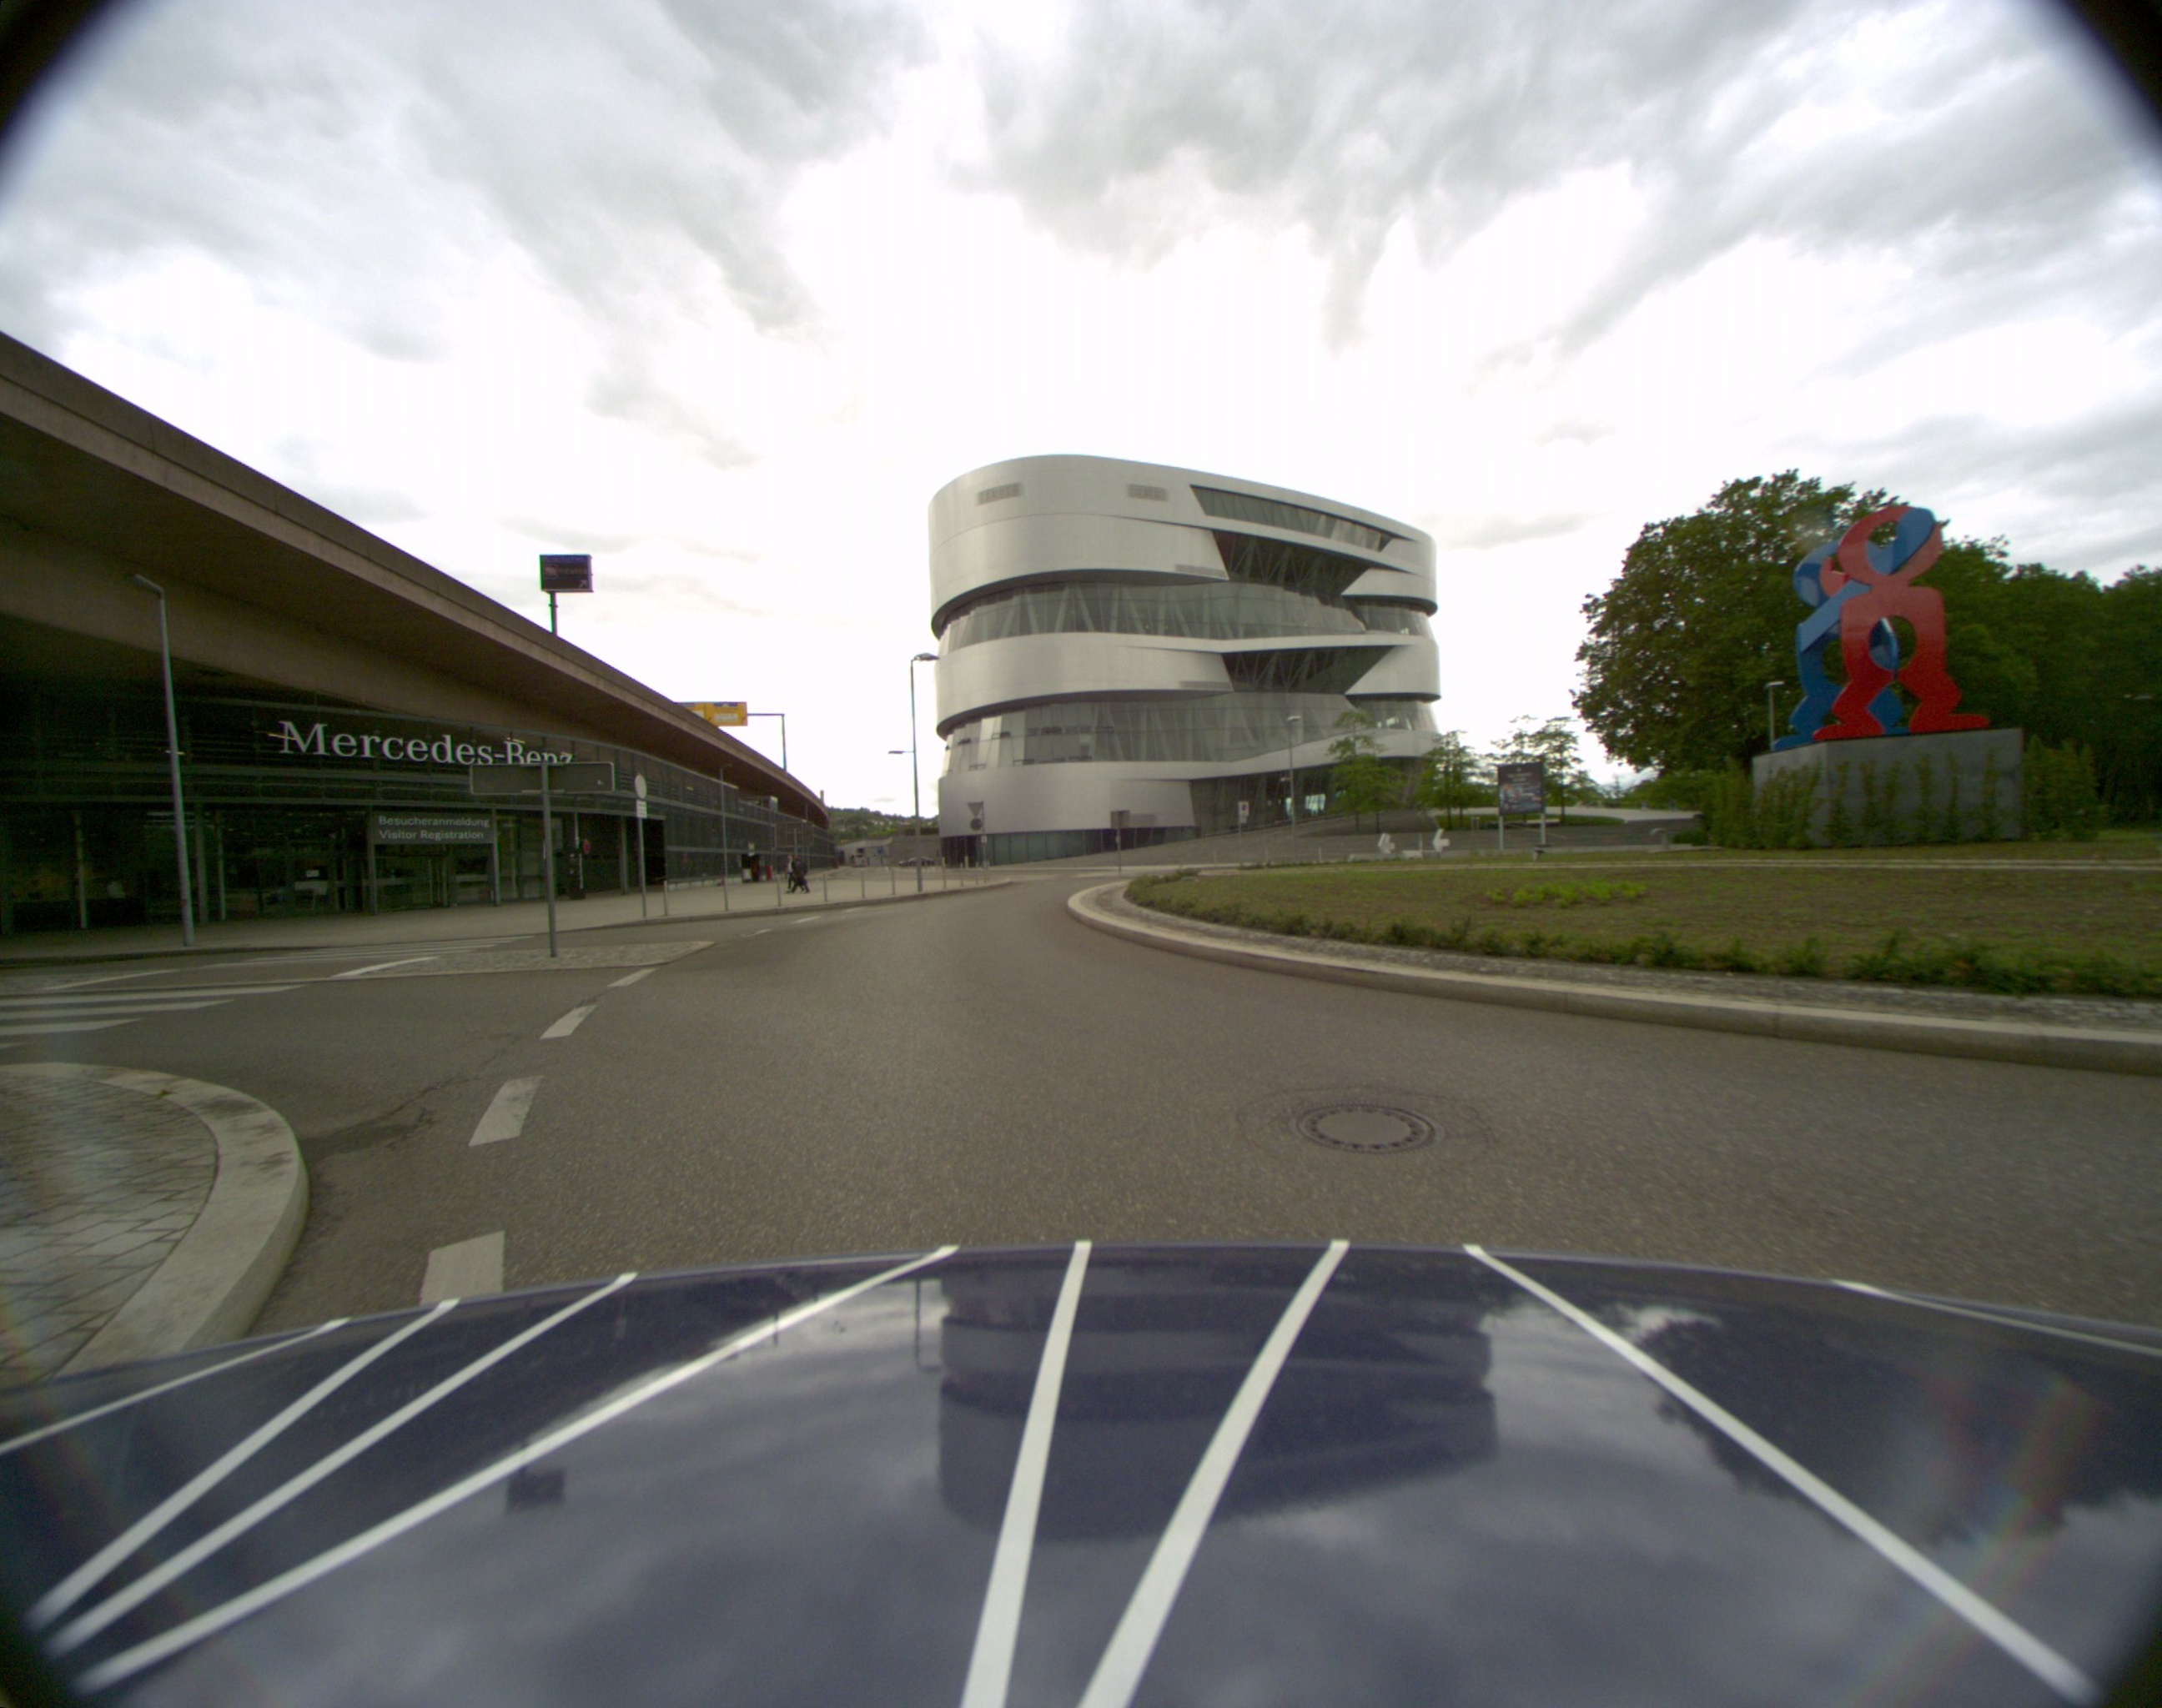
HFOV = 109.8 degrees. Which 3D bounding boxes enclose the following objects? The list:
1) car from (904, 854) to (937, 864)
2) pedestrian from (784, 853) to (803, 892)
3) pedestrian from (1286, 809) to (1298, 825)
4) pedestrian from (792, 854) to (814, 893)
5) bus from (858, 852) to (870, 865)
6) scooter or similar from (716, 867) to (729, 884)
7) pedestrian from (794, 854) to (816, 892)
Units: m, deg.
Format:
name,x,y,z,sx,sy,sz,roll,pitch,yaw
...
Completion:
name,x,y,z,sx,sy,sz,roll,pitch,yaw
car,-24.546,0.792,116.119,4.909,1.390,1.534,-2,-1,-13
pedestrian,-13.303,0.848,35.154,0.784,1.787,0.864,-2,0,-21
pedestrian,26.396,-4.662,95.145,0.953,1.913,0.851,-7,1,-24
pedestrian,-12.333,0.849,33.650,0.774,1.695,0.864,-2,-1,-27
bus,-58.198,1.273,203.640,2.934,3.420,6.959,-2,-1,-16
scooter or similar,-23.720,1.413,50.244,0.381,1.116,1.427,-2,-1,-10
pedestrian,-12.532,0.873,34.532,0.774,1.695,0.785,-2,-1,-29
